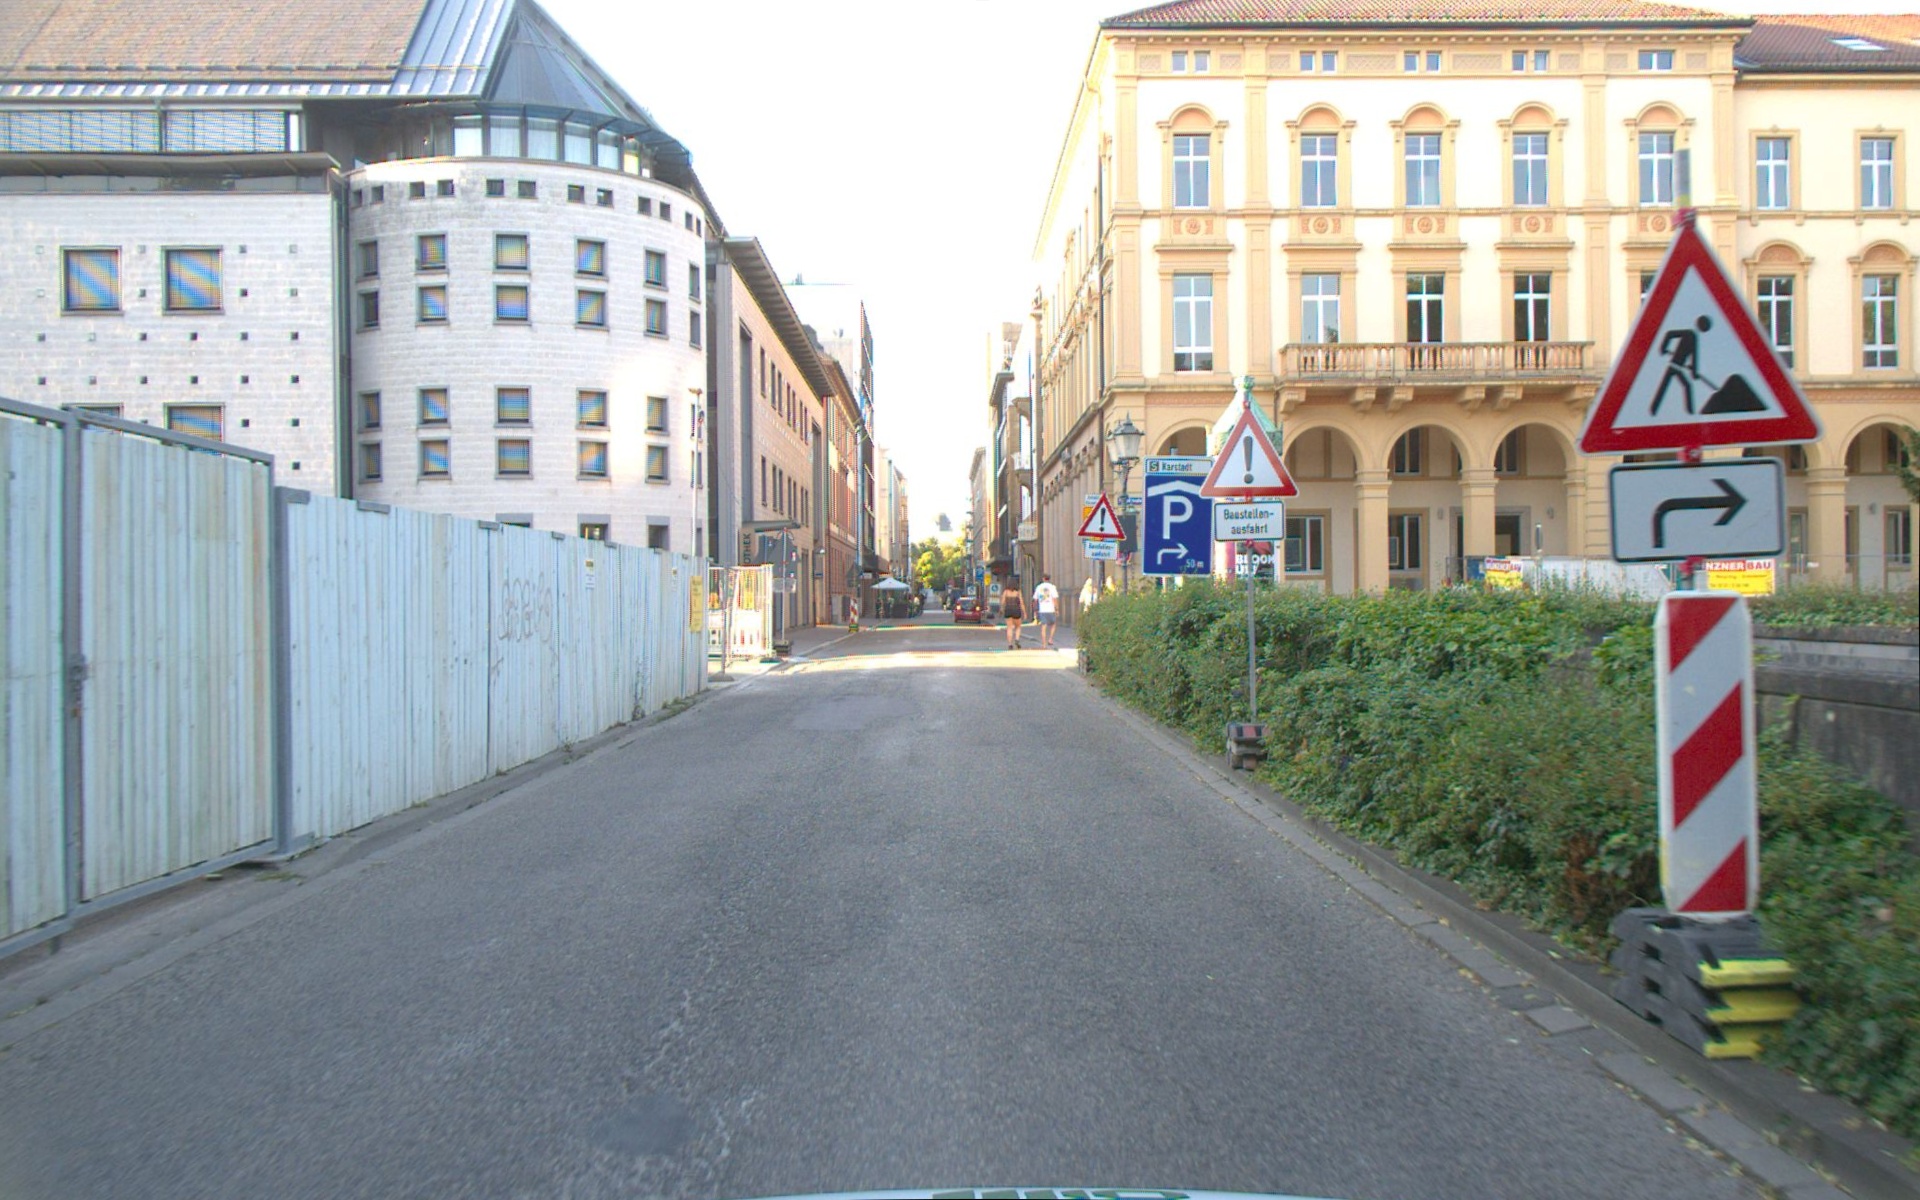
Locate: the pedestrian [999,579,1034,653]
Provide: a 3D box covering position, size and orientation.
[{"bbox_3d":[1.391,0.397,40.798,0.760,1.777,0.875,-1,-1,-2],"label":"pedestrian"}]

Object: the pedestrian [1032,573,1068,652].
[{"bbox_3d":[2.232,0.309,41.049,0.795,1.908,0.875,-1,-1,-2],"label":"pedestrian"}]

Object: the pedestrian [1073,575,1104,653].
[{"bbox_3d":[3.077,0.341,39.624,0.623,1.835,0.771,-1,-1,-2],"label":"pedestrian"}]

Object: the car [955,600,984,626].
[{"bbox_3d":[0.551,0.778,99.428,1.616,1.452,3.535,2,0,0],"label":"car"}]

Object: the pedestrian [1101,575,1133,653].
[{"bbox_3d":[3.758,0.336,39.650,0.623,1.835,0.771,-1,-1,-2],"label":"pedestrian"}]

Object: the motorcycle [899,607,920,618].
[{"bbox_3d":[-4.234,1.057,139.394,1.766,0.891,0.560,0,-1,-5],"label":"motorcycle"}]

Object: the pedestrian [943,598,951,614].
[{"bbox_3d":[-1.347,0.591,176.877,0.788,1.702,0.888,-1,0,1],"label":"pedestrian"}]
